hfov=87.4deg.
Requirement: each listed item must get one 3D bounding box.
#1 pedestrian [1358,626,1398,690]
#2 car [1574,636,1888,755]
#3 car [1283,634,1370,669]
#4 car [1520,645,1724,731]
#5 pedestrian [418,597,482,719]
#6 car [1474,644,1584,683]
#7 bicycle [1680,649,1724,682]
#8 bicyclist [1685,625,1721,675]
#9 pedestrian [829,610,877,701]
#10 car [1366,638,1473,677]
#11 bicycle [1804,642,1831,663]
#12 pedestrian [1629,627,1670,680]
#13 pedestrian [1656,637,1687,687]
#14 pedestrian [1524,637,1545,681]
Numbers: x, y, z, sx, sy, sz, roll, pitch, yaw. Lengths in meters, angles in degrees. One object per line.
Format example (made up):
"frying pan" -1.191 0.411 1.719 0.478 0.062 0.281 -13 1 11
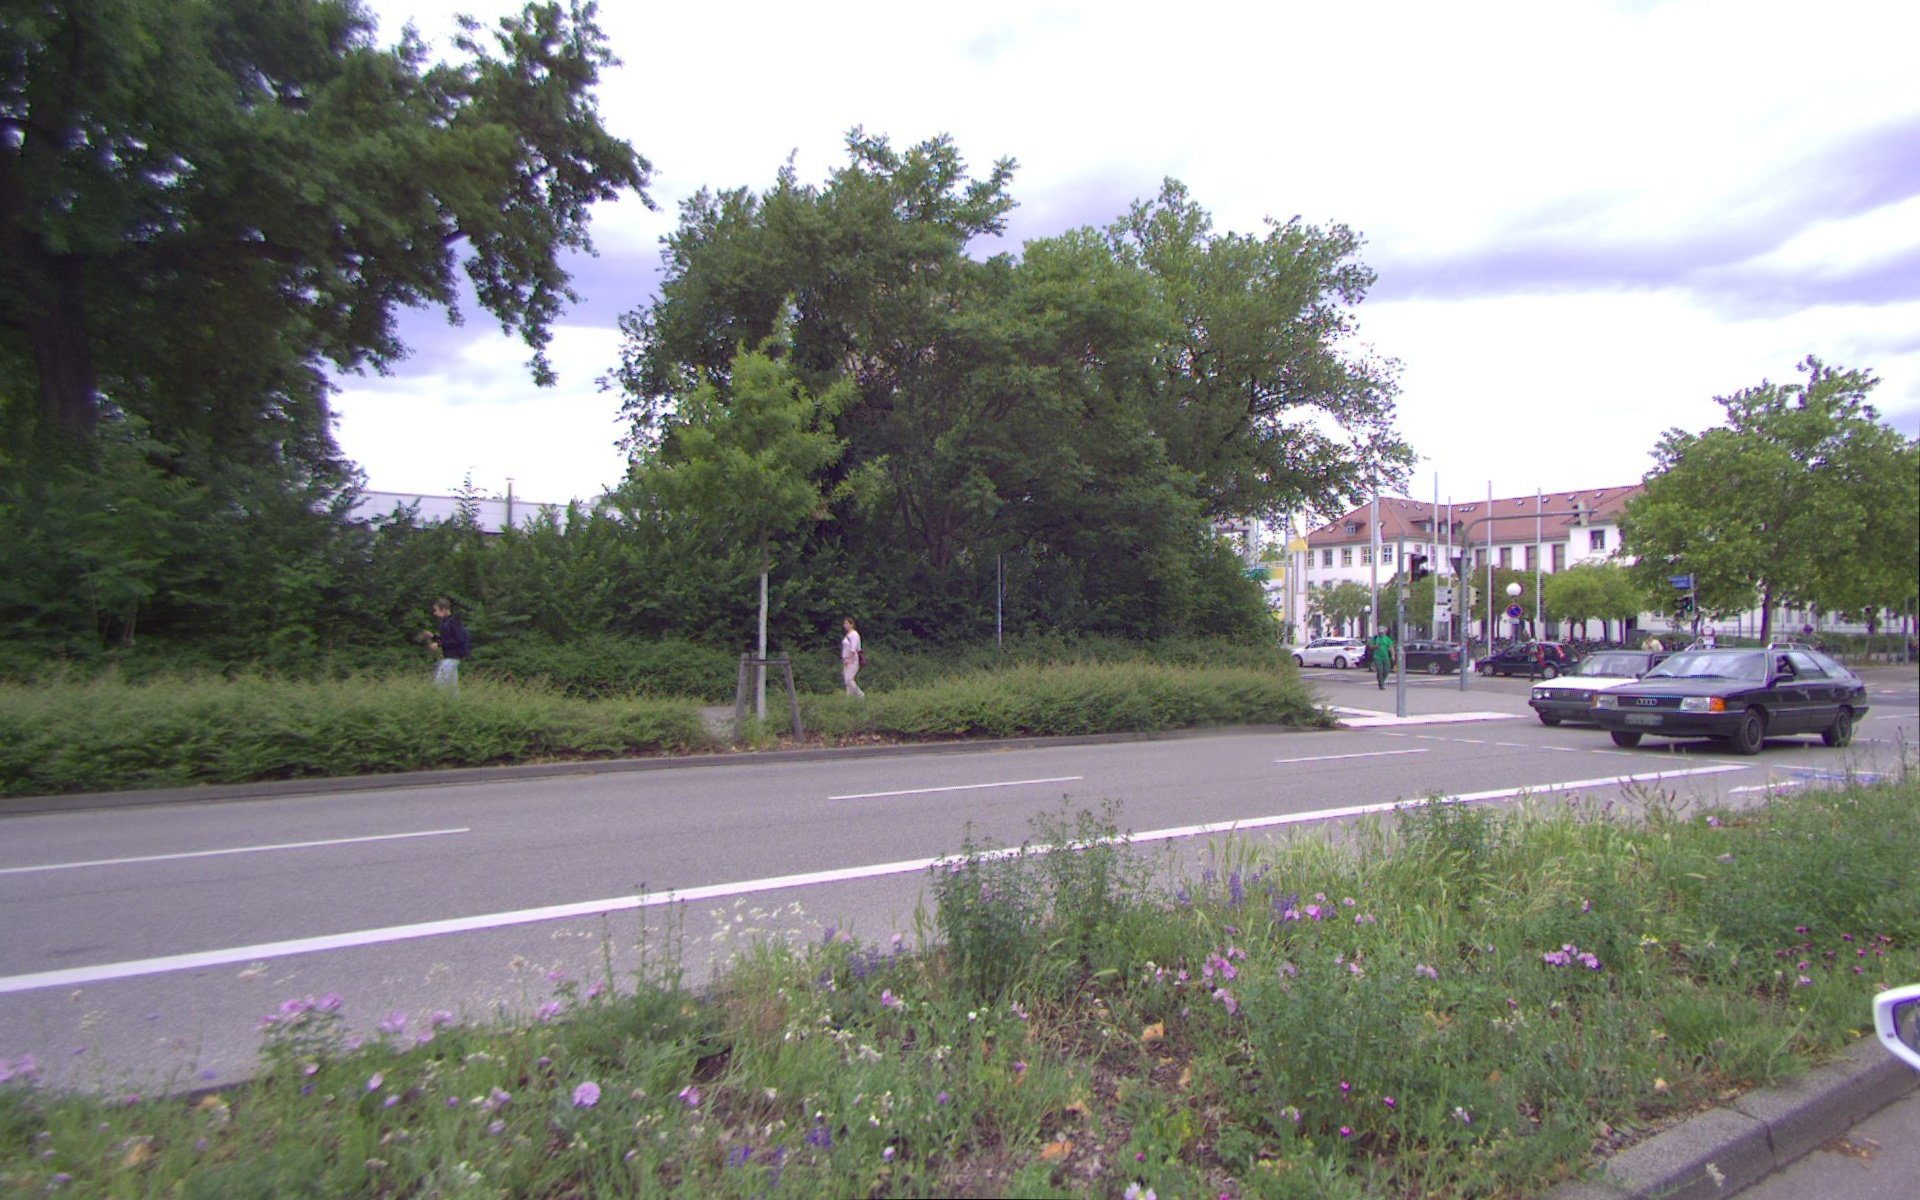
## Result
"pedestrian" 11.927 1.641 28.708 0.924 1.782 0.876 2 -1 16
"car" 11.075 1.302 14.365 4.732 1.479 1.757 2 -4 -28
"car" 18.054 2.526 49.628 1.667 1.560 3.857 -1 0 -32
"car" 12.169 1.542 18.429 3.763 1.399 1.601 1 -3 -30
"pedestrian" -7.571 0.856 14.915 0.808 1.752 0.617 1 -3 -30
"car" 23.338 2.554 41.293 1.547 1.240 3.631 -7 4 -35
"bicycle" 25.607 2.267 34.642 1.601 1.076 0.662 2 -1 -31
"bicyclist" 25.636 1.719 34.650 0.950 1.657 0.662 2 -1 -31
"pedestrian" -2.006 1.028 18.799 0.663 1.657 0.697 1 -3 -30
"car" 20.392 2.513 44.642 4.007 1.472 1.613 -2 3 43
"bicycle" 44.626 2.708 52.248 2.025 1.074 0.603 1 -3 -37
"pedestrian" 23.741 1.863 34.606 0.818 1.761 0.839 5 -5 -20
"pedestrian" 23.395 2.042 33.013 0.780 1.578 0.696 0 -5 40
"pedestrian" 21.139 2.182 36.941 0.563 1.545 0.846 0 -6 36
